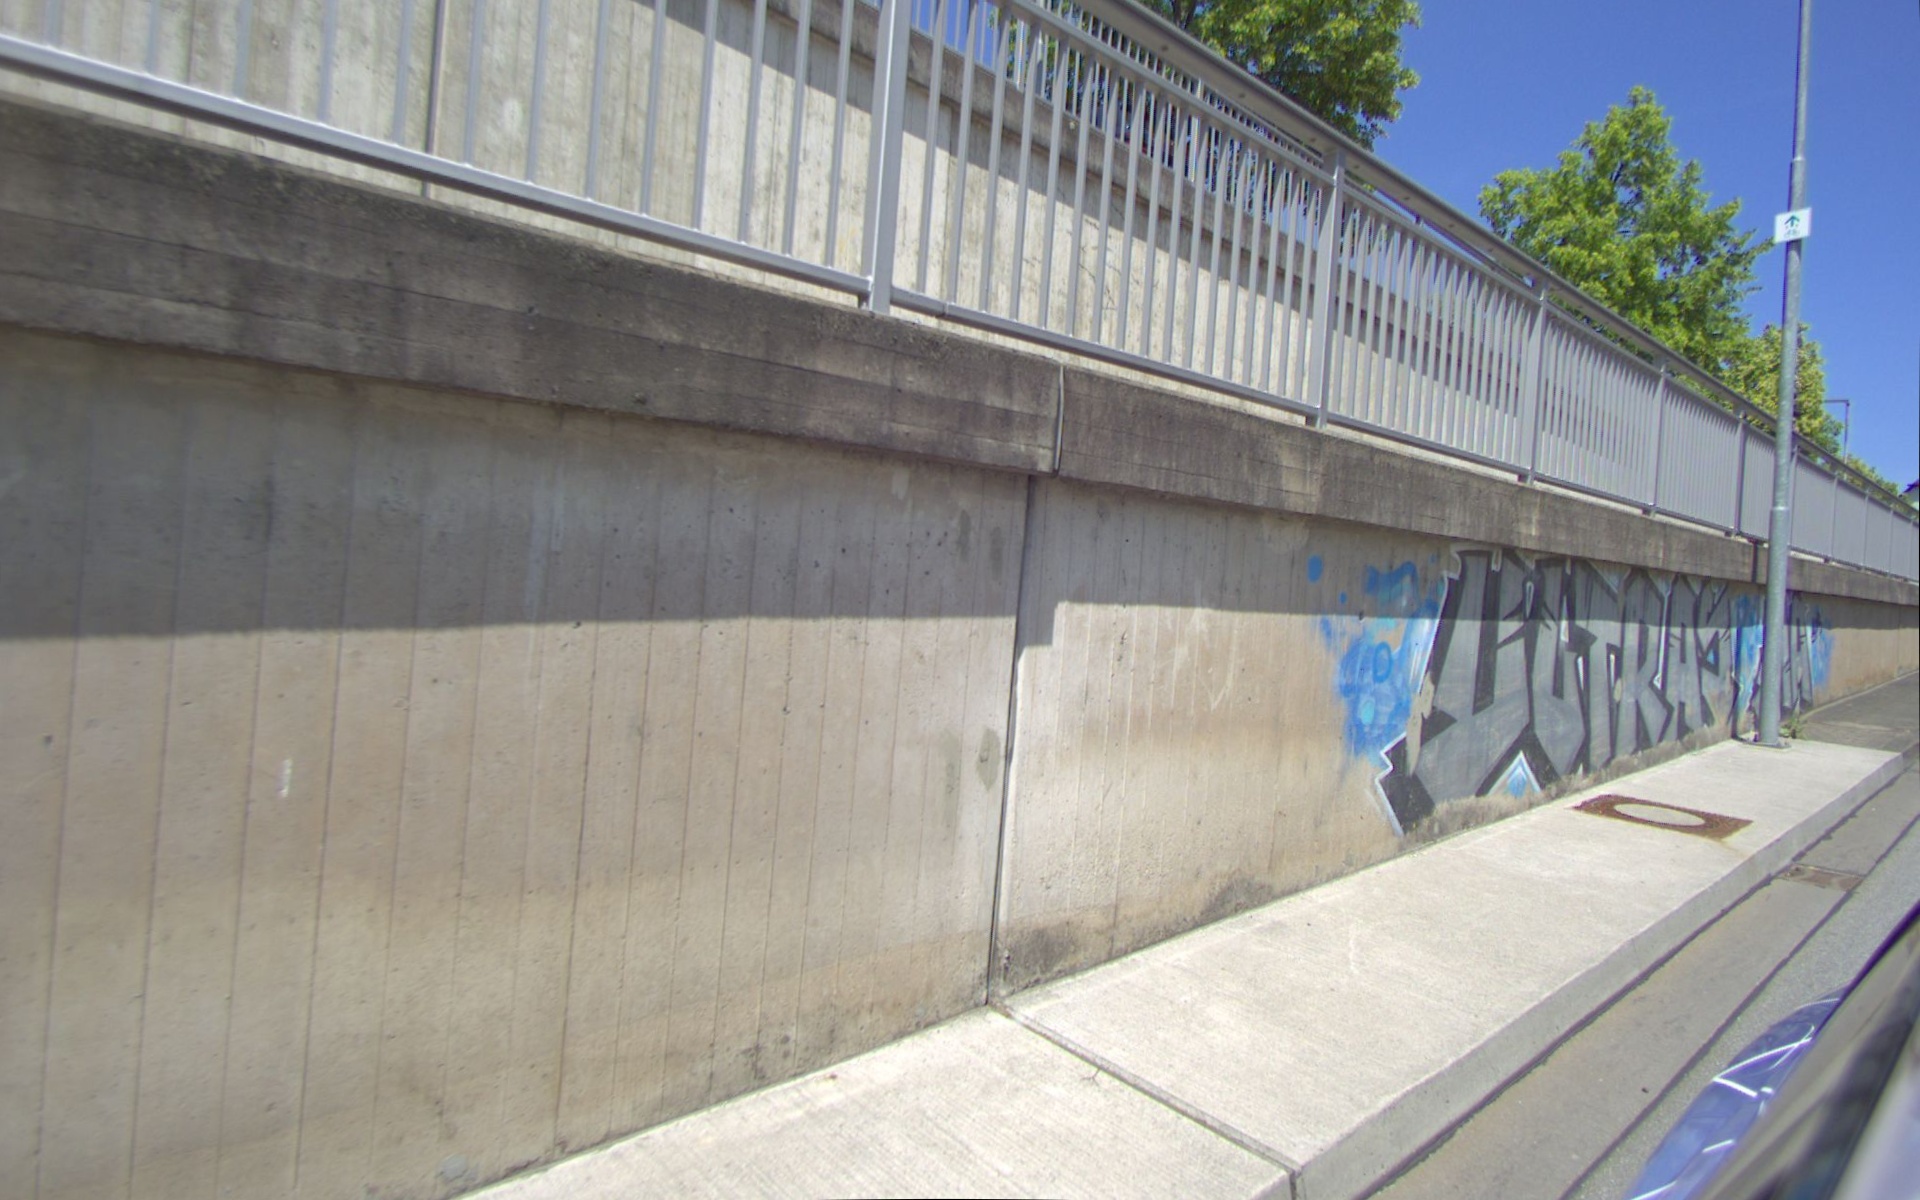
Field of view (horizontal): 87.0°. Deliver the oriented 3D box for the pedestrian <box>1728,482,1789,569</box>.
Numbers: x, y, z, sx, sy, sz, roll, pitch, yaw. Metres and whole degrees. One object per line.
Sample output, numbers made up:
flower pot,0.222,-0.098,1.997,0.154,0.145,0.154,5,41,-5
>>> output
pedestrian,17.416,-1.608,22.077,0.774,1.804,0.838,1,1,-40
